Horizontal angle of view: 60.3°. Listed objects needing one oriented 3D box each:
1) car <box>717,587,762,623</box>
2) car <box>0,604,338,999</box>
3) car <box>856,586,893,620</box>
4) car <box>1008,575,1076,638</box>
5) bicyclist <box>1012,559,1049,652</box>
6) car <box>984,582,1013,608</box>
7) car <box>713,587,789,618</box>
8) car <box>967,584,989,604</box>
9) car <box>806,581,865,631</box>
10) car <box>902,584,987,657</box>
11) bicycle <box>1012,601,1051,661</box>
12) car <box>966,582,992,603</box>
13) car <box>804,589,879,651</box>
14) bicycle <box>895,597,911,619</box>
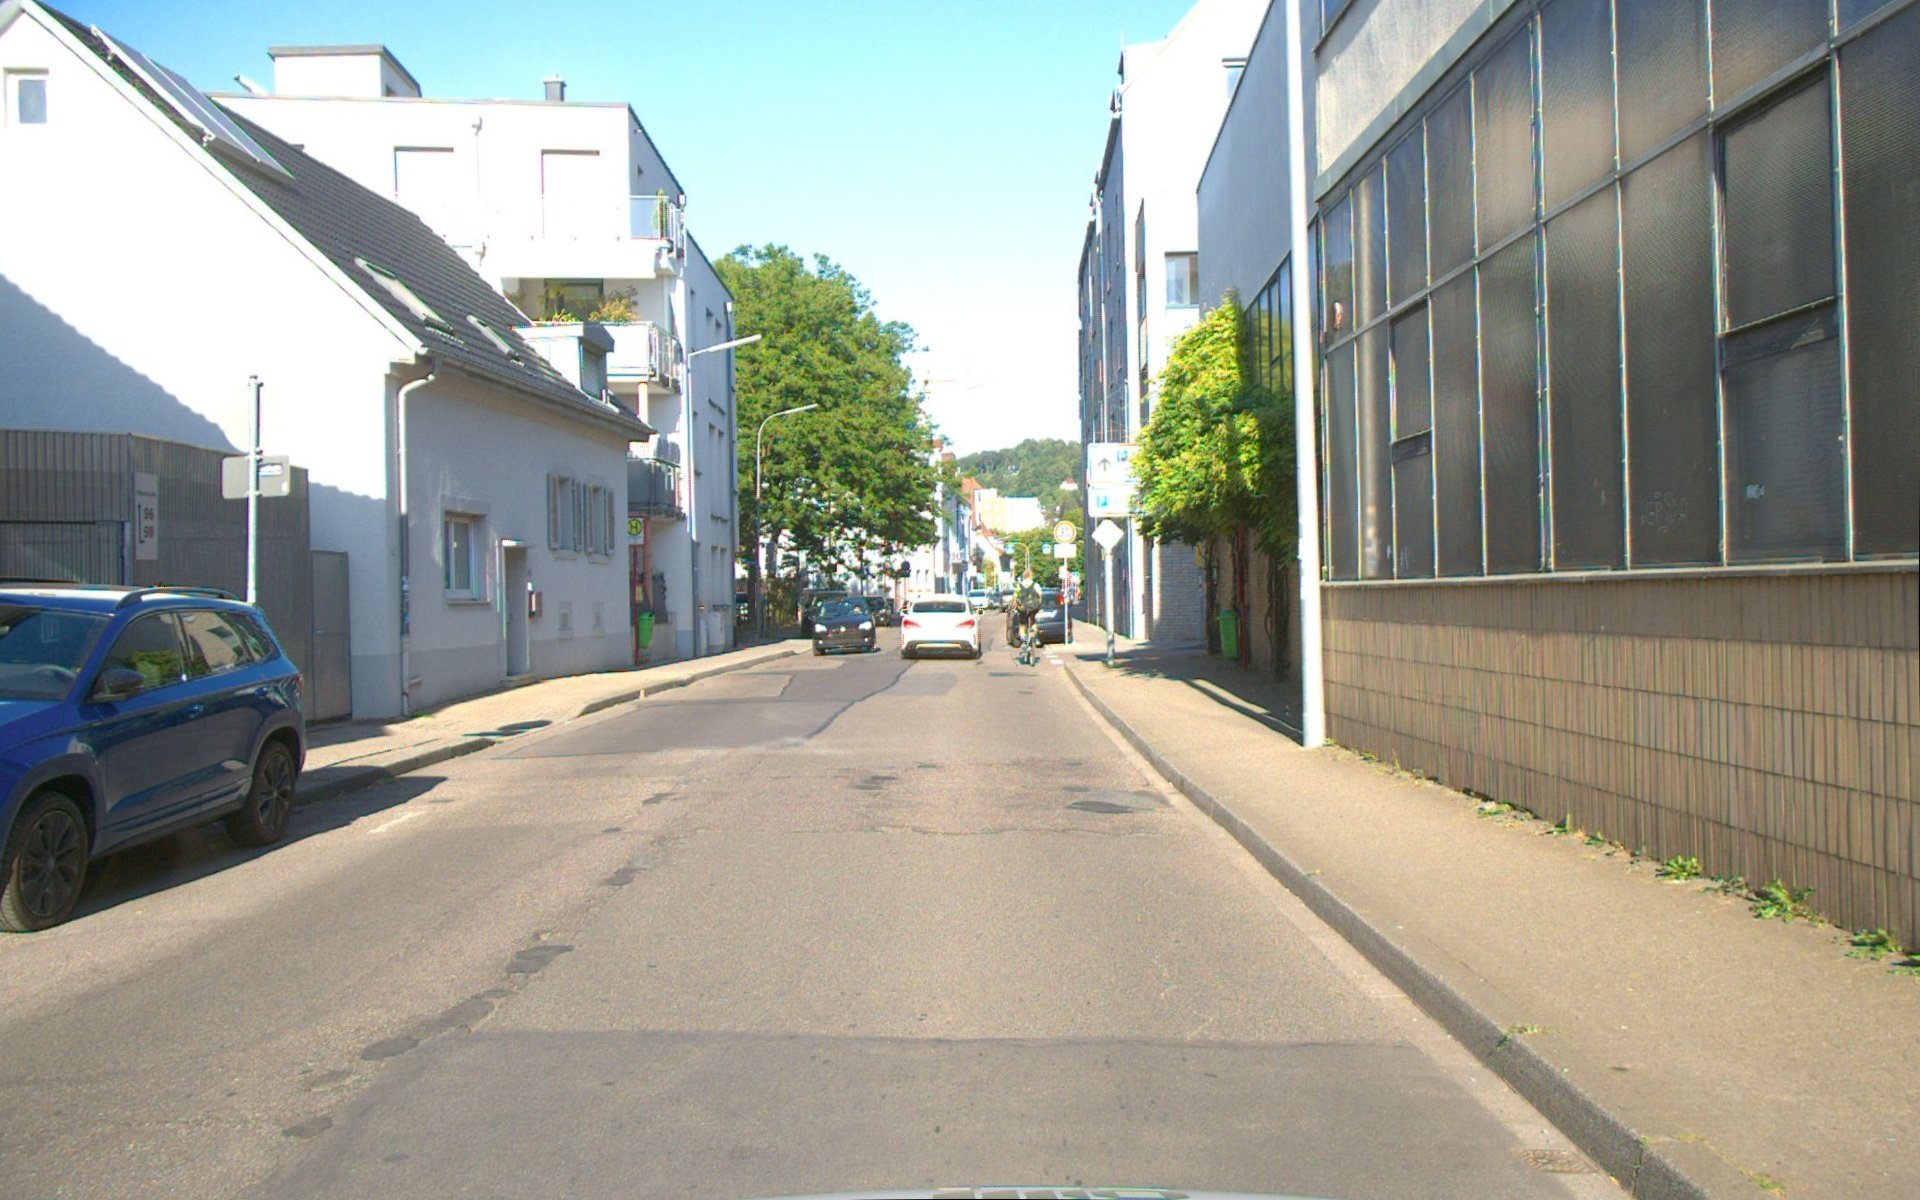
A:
[{"bbox_3d":[-10.838,0.220,81.385,1.753,1.719,3.964,0,1,-2],"label":"car"},{"bbox_3d":[-5.144,0.898,9.221,1.772,1.614,4.193,0,2,0],"label":"car"},{"bbox_3d":[-4.254,0.130,82.895,1.669,1.603,3.913,-1,1,0],"label":"car"},{"bbox_3d":[2.285,0.176,47.116,1.597,1.614,4.069,-4,0,-1],"label":"car"},{"bbox_3d":[1.412,0.110,33.131,0.684,1.821,1.041,-1,0,1],"label":"bicyclist"},{"bbox_3d":[2.760,-0.391,119.144,1.816,1.822,4.605,-1,1,-2],"label":"car"},{"bbox_3d":[-11.489,0.138,91.163,3.818,1.603,1.711,-1,0,5],"label":"car"},{"bbox_3d":[1.506,-0.523,137.906,1.629,1.603,3.915,-1,1,2],"label":"car"},{"bbox_3d":[-4.821,0.209,64.420,1.815,1.822,4.608,-1,1,1],"label":"car"},{"bbox_3d":[-0.373,0.440,37.617,1.805,1.517,4.143,-1,0,-1],"label":"car"},{"bbox_3d":[1.420,0.602,33.138,0.684,1.150,2.403,-1,0,1],"label":"bicycle"},{"bbox_3d":[1.604,-0.617,138.700,1.905,1.614,4.623,-5,0,3],"label":"car"},{"bbox_3d":[-3.088,0.510,43.739,1.805,1.517,4.142,-1,0,-2],"label":"car"},{"bbox_3d":[-3.378,0.467,98.138,0.818,1.239,2.842,-1,1,0],"label":"bicycle"}]
